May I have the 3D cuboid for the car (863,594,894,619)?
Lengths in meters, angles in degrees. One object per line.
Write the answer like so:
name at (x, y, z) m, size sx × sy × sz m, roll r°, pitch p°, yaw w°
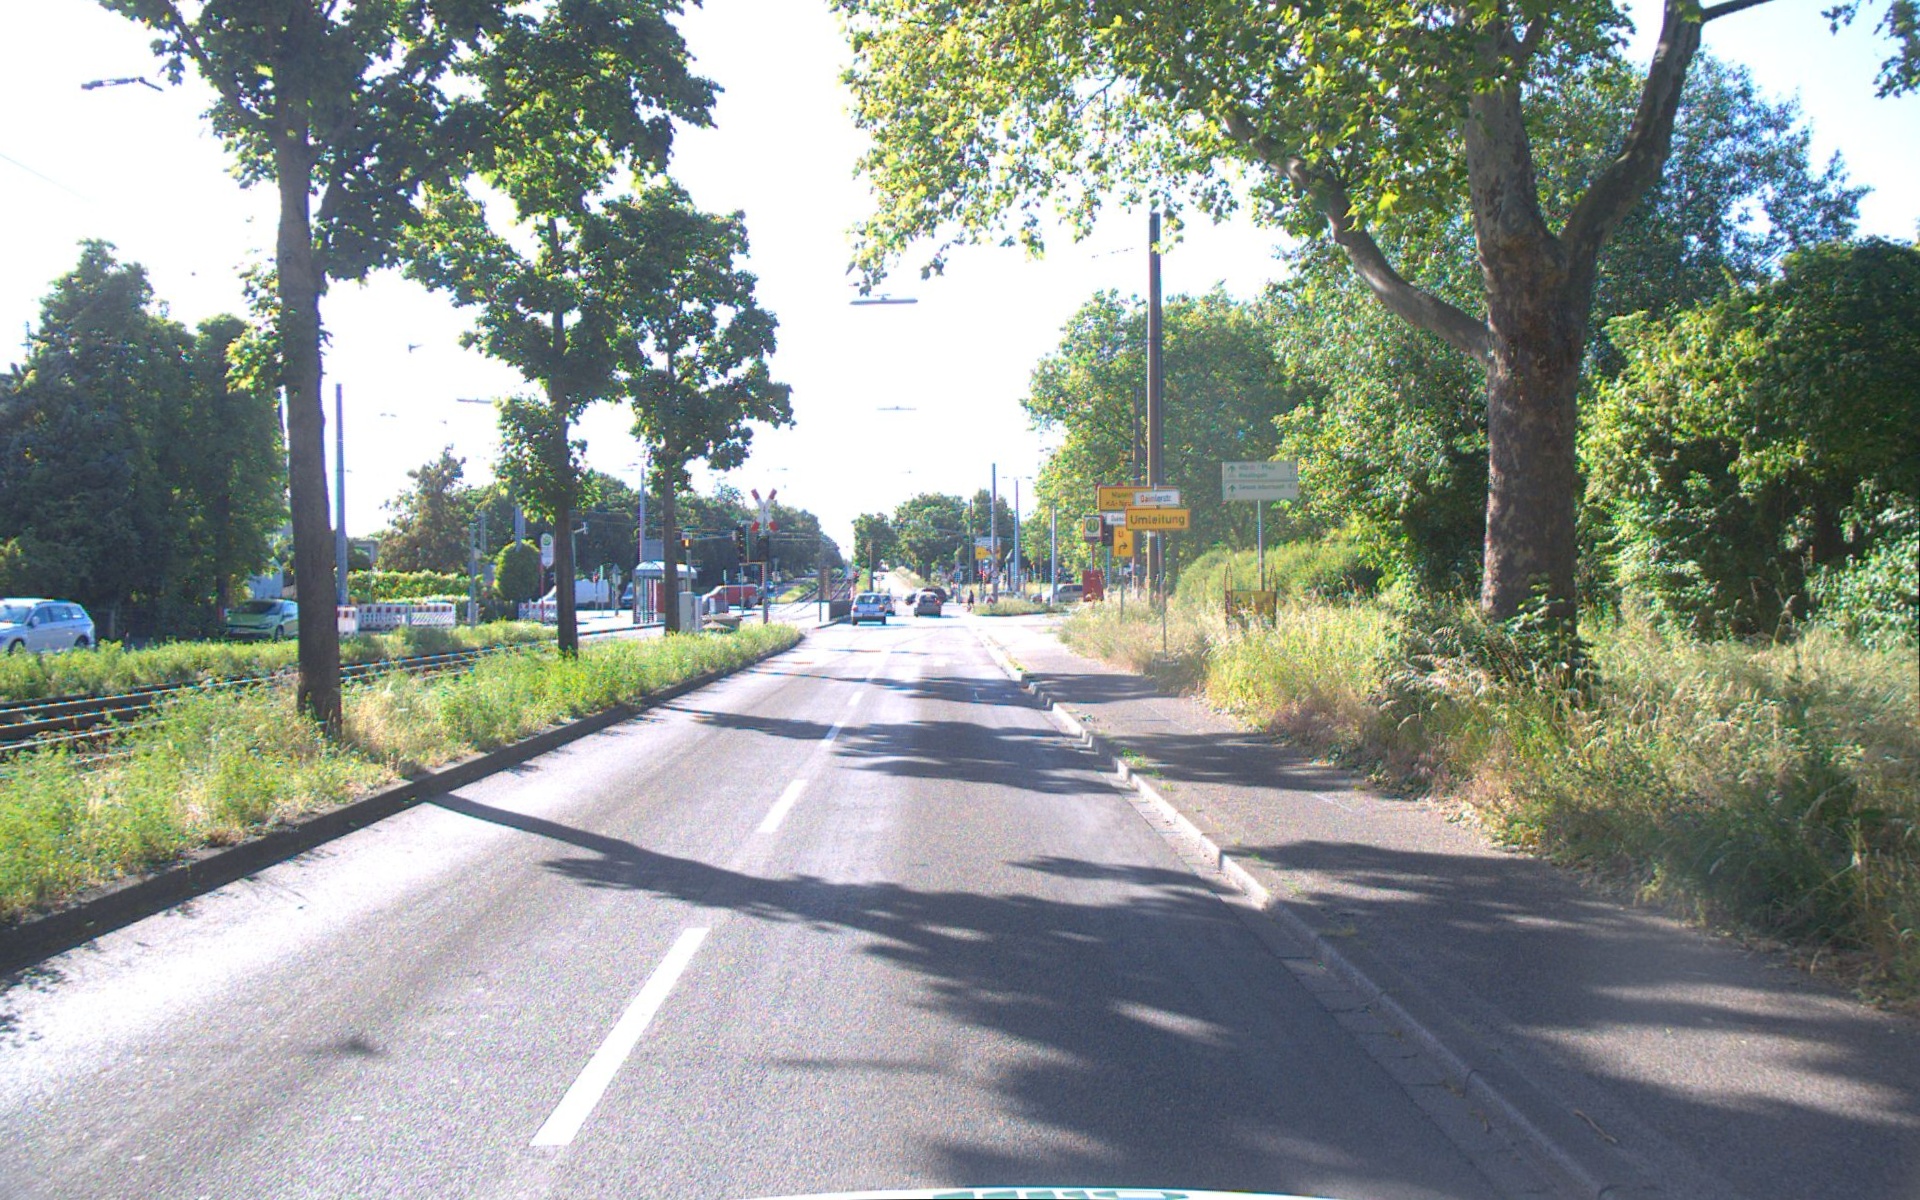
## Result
car at (-5.578, 0.459, 113.256) m, size 1.953 × 1.631 × 4.472 m, roll 1°, pitch 0°, yaw -2°

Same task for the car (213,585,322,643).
car at (-22.013, 0.430, 52.734) m, size 1.742 × 1.737 × 4.227 m, roll 1°, pitch 0°, yaw -1°

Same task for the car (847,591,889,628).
car at (-4.279, 0.419, 77.395) m, size 1.822 × 1.629 × 4.227 m, roll 1°, pitch 0°, yaw -1°

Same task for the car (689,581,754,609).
car at (-20.358, -0.404, 141.184) m, size 5.083 × 2.315 × 1.985 m, roll 1°, pitch 0°, yaw -26°

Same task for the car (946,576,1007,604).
car at (1.441, -0.882, 146.680) m, size 5.083 × 2.315 × 1.985 m, roll 1°, pitch 0°, yaw -26°

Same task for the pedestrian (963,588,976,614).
pedestrian at (0.712, 0.082, 121.682) m, size 0.907 × 1.867 × 0.638 m, roll 1°, pitch 0°, yaw 3°

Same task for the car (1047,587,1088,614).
car at (6.779, 0.061, 103.827) m, size 1.820 × 1.629 × 4.231 m, roll 1°, pitch 0°, yaw 14°

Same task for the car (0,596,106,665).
car at (-21.503, 0.649, 37.682) m, size 1.822 × 1.456 × 4.460 m, roll 1°, pitch 0°, yaw -1°

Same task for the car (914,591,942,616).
car at (-2.117, 0.238, 108.171) m, size 1.755 × 1.586 × 4.227 m, roll 1°, pitch 0°, yaw -1°

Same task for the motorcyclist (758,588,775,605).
motorcyclist at (-17.236, -0.346, 147.183) m, size 1.300 × 1.474 × 0.723 m, roll 1°, pitch 0°, yaw -27°

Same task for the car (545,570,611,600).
car at (-32.234, -1.242, 139.518) m, size 5.177 × 2.396 × 1.851 m, roll 1°, pitch 0°, yaw -25°

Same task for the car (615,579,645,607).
car at (-29.557, -0.617, 148.325) m, size 2.047 × 2.395 × 5.256 m, roll 1°, pitch 0°, yaw -5°

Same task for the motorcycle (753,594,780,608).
motorcycle at (-17.227, 0.091, 147.195) m, size 2.345 × 1.204 × 0.723 m, roll 1°, pitch 0°, yaw -27°
